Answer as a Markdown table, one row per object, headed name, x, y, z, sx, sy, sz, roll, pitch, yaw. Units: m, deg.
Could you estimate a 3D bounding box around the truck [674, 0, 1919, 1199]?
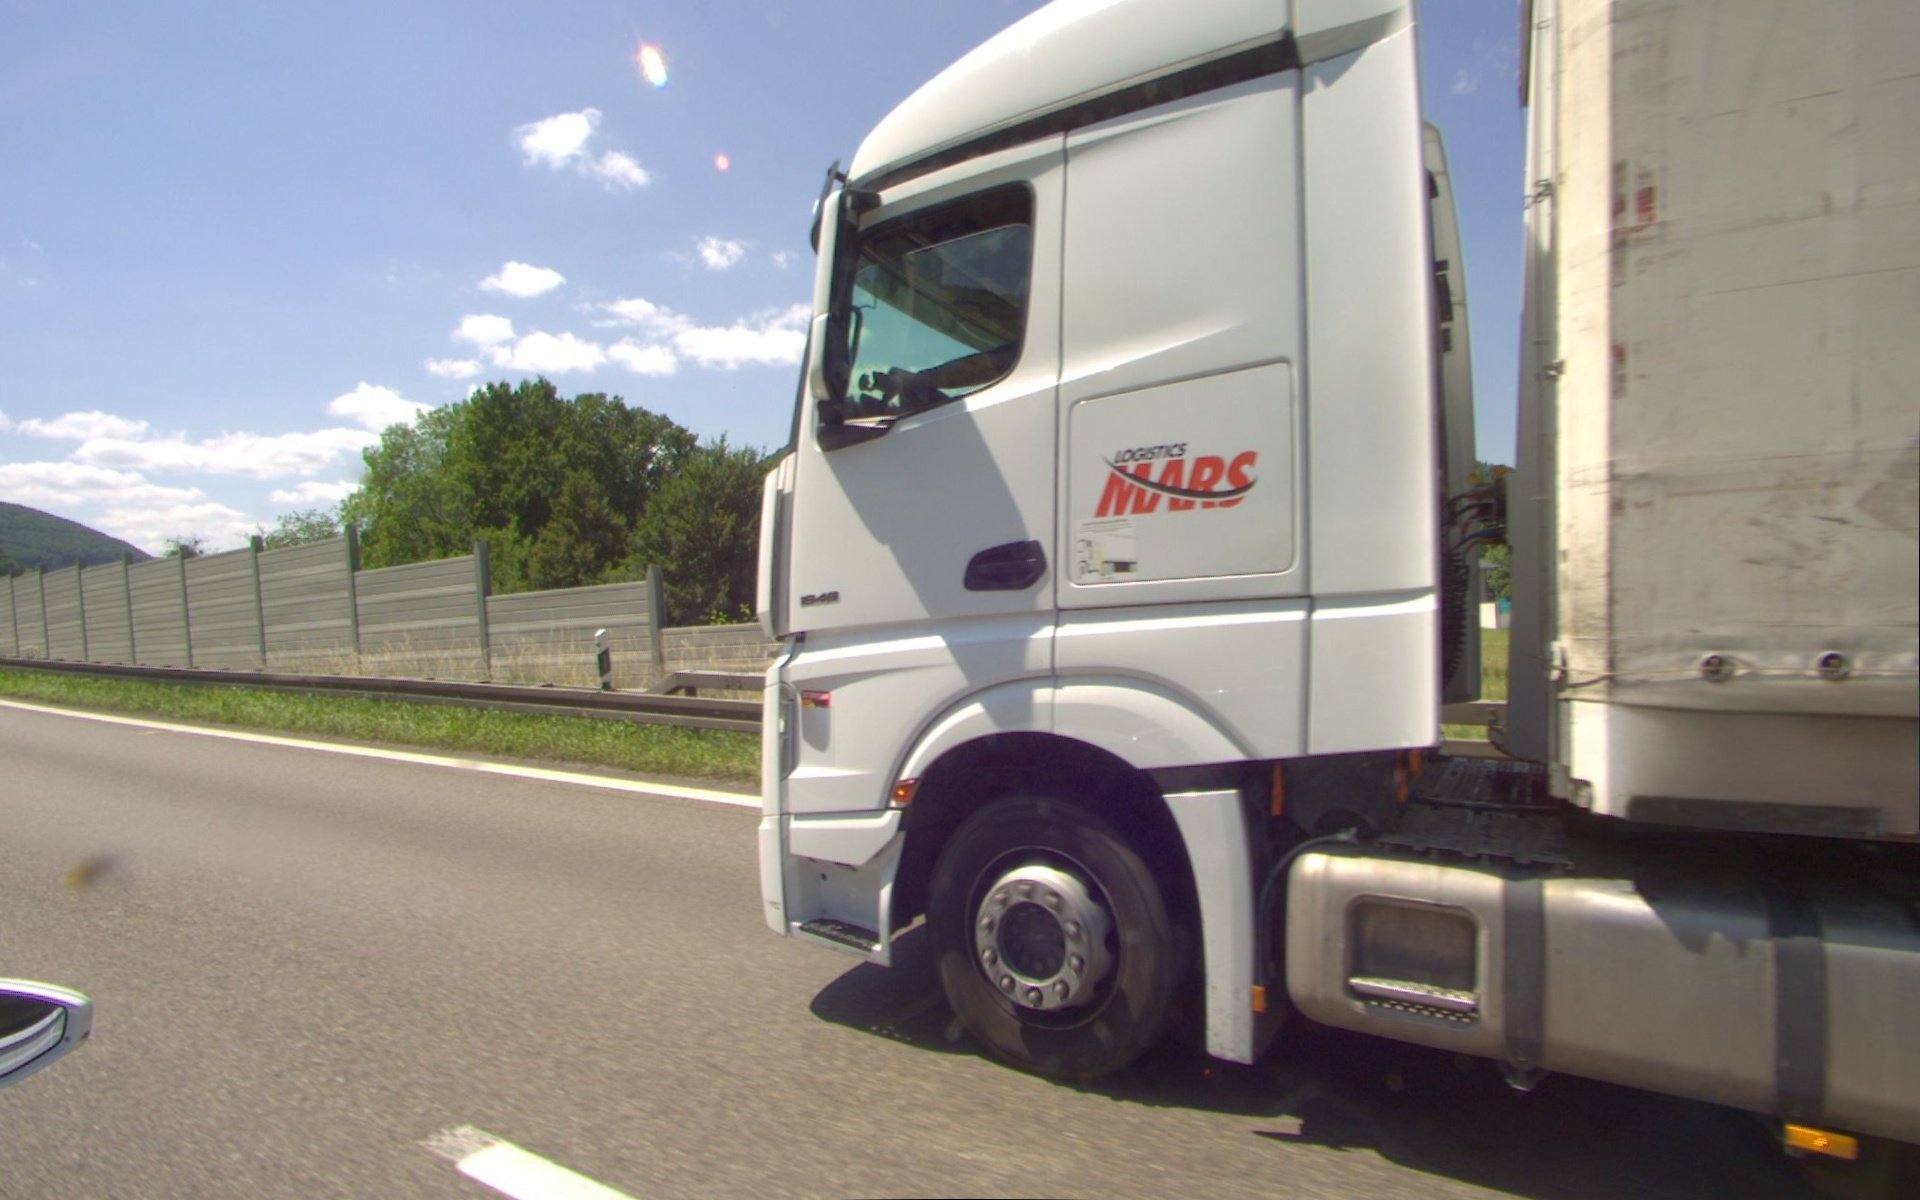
| name | x | y | z | sx | sy | sz | roll | pitch | yaw |
| --- | --- | --- | --- | --- | --- | --- | --- | --- | --- |
| truck | 2.055 | -0.529 | 3.553 | 5.667 | 4.120 | 2.716 | -1 | -1 | 29 |
